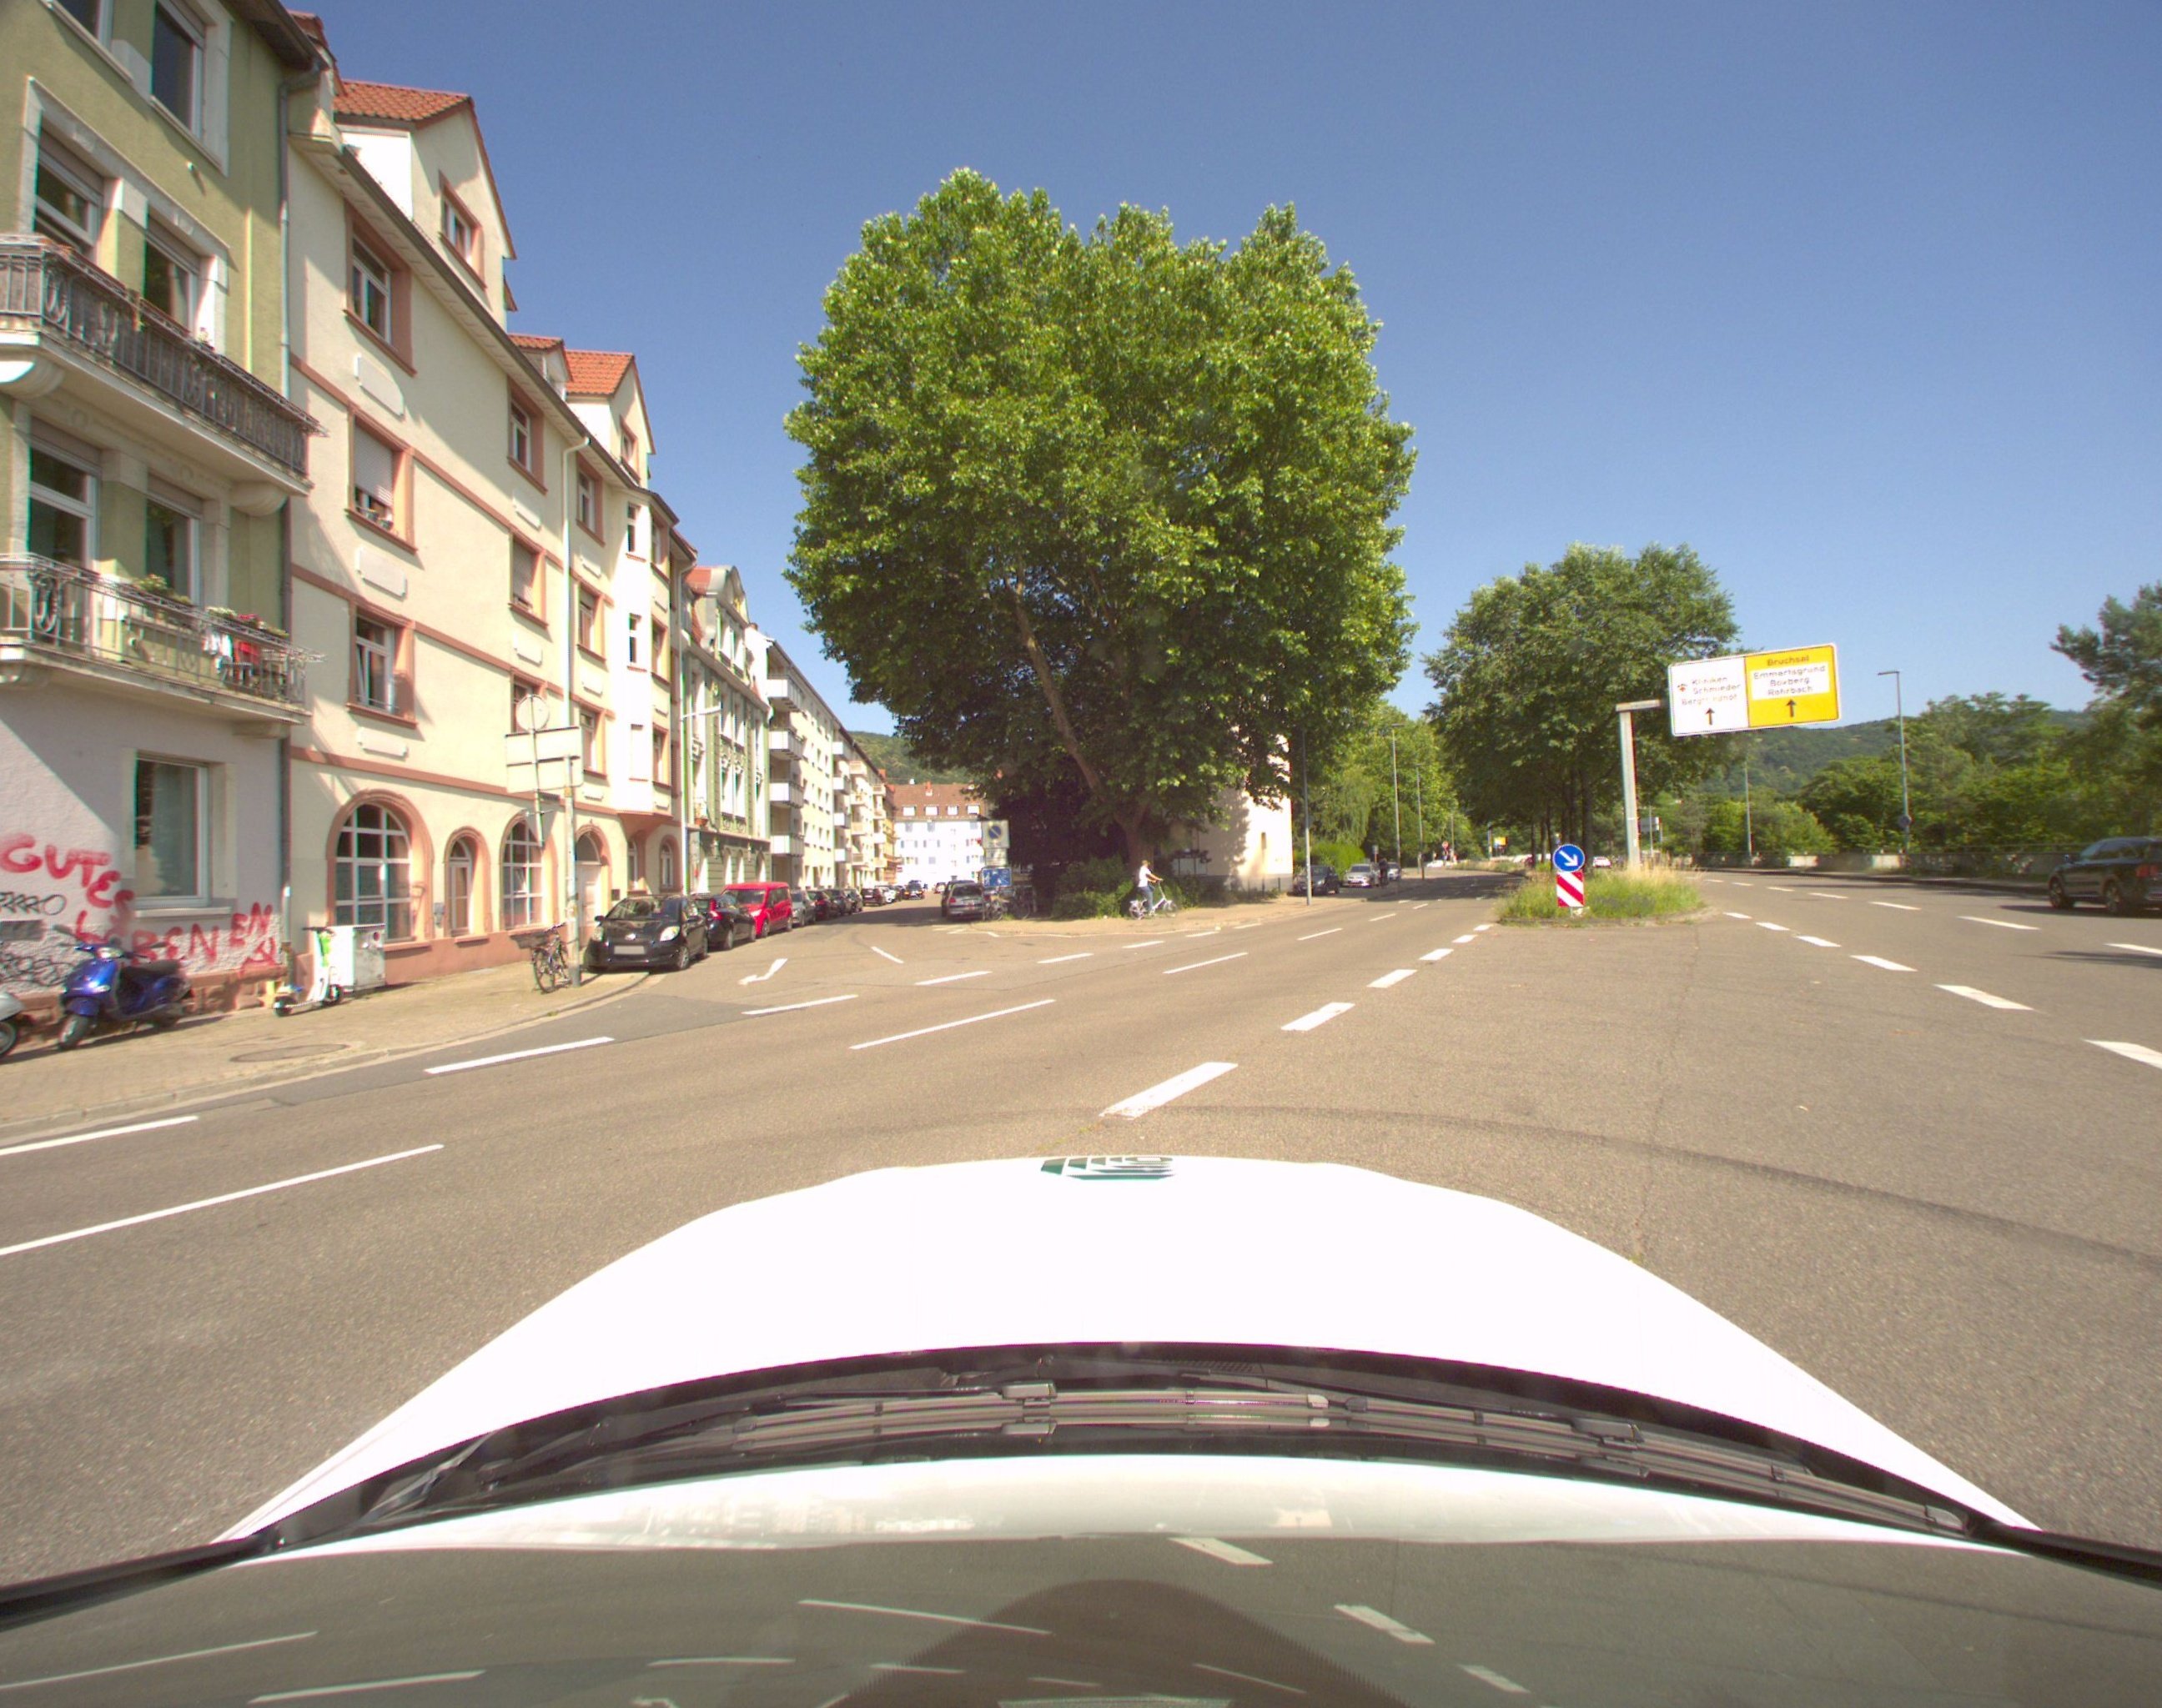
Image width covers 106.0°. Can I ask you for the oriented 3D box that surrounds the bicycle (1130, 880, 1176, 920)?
[{"bbox_3d":[2.256,1.427,25.588,1.284,1.189,0.551,-2,-2,-13],"label":"bicycle"}]

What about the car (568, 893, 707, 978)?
[{"bbox_3d":[-9.143,1.610,17.119,1.825,1.447,3.746,-1,-2,-17],"label":"car"}]

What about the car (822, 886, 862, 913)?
[{"bbox_3d":[-14.370,2.719,49.119,1.863,1.486,3.985,-2,-1,-10],"label":"car"}]

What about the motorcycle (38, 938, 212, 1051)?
[{"bbox_3d":[-11.018,1.582,9.454,0.427,1.094,1.445,0,-2,-8],"label":"motorcycle"}]

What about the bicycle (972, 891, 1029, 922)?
[{"bbox_3d":[-2.885,1.859,28.966,1.894,0.984,0.969,-2,-2,-13],"label":"bicycle"}]

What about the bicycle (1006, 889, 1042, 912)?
[{"bbox_3d":[-2.583,2.081,36.731,1.570,0.993,0.455,0,-1,-10],"label":"bicycle"}]

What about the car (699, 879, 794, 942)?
[{"bbox_3d":[-11.003,1.799,27.091,1.865,1.841,4.214,-2,-1,-8],"label":"car"}]

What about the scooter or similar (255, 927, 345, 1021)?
[{"bbox_3d":[-10.781,1.623,11.284,0.274,1.128,1.439,0,-2,-18],"label":"scooter or similar"}]

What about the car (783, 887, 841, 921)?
[{"bbox_3d":[-12.923,2.379,39.383,1.861,1.486,3.990,-2,-2,-7],"label":"car"}]

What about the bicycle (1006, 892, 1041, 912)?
[{"bbox_3d":[-2.512,2.087,35.751,1.502,0.834,0.382,0,-1,-10],"label":"bicycle"}]

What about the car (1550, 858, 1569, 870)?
[{"bbox_3d":[61.112,1.266,104.091,1.615,1.495,3.700,-3,-2,23],"label":"car"}]

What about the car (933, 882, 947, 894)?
[{"bbox_3d":[-19.860,4.786,114.974,1.747,1.481,3.770,-2,-1,-7],"label":"car"}]

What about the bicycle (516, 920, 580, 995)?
[{"bbox_3d":[-8.717,1.649,13.379,0.627,1.034,1.866,-1,-2,-26],"label":"bicycle"}]

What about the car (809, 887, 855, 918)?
[{"bbox_3d":[-13.499,2.615,44.326,1.863,1.486,3.985,-2,-1,-10],"label":"car"}]

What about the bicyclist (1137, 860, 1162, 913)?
[{"bbox_3d":[2.160,1.024,25.587,0.588,1.633,0.538,-1,-2,-14],"label":"bicyclist"}]

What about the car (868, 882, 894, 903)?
[{"bbox_3d":[-16.980,3.254,69.323,1.863,1.722,3.848,-2,-2,-10],"label":"car"}]

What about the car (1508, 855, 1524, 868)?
[{"bbox_3d":[64.481,1.156,120.763,1.615,1.812,3.611,-2,-2,22],"label":"car"}]

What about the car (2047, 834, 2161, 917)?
[{"bbox_3d":[23.316,0.408,17.734,1.898,1.664,4.339,-3,-2,36],"label":"car"}]

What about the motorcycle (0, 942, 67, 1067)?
[{"bbox_3d":[-10.665,1.476,7.495,0.471,1.150,1.764,0,-1,-1],"label":"motorcycle"}]

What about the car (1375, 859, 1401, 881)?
[{"bbox_3d":[25.621,1.313,67.914,1.754,1.680,4.022,-3,-2,23],"label":"car"}]

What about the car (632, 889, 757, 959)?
[{"bbox_3d":[-10.254,1.785,21.938,1.982,1.543,4.048,-2,-1,-10],"label":"car"}]

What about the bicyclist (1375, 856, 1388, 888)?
[{"bbox_3d":[18.423,1.111,49.901,0.640,1.894,0.843,-3,-2,22],"label":"bicyclist"}]

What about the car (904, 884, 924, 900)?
[{"bbox_3d":[-17.201,3.890,83.930,1.747,1.461,3.770,-2,-2,-7],"label":"car"}]

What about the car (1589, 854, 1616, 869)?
[{"bbox_3d":[61.868,0.846,96.715,1.976,1.677,4.022,-3,-2,23],"label":"car"}]

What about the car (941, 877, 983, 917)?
[{"bbox_3d":[-5.341,1.911,36.935,1.747,1.657,3.770,-2,-1,-7],"label":"car"}]

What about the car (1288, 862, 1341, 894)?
[{"bbox_3d":[11.838,1.188,41.149,1.771,1.512,3.916,-3,-2,27],"label":"car"}]

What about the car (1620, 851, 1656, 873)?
[{"bbox_3d":[49.409,0.704,72.305,1.975,1.891,4.023,-3,-2,26],"label":"car"}]

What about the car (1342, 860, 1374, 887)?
[{"bbox_3d":[17.537,1.232,51.453,1.627,1.574,4.021,-3,-2,22],"label":"car"}]

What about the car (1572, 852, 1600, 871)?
[{"bbox_3d":[55.099,0.824,88.921,1.976,1.891,4.022,-3,-2,23],"label":"car"}]

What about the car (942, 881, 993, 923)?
[{"bbox_3d":[-4.386,1.804,31.638,1.803,1.451,3.784,-2,-1,-7],"label":"car"}]

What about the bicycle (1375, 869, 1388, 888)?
[{"bbox_3d":[18.367,1.490,49.742,0.654,1.122,1.812,-3,-2,21],"label":"bicycle"}]

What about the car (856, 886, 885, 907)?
[{"bbox_3d":[-16.090,3.243,62.440,1.863,1.486,3.848,-2,-2,-10],"label":"car"}]

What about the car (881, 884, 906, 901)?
[{"bbox_3d":[-18.238,3.762,79.475,1.992,1.478,3.988,-2,-1,-8],"label":"car"}]

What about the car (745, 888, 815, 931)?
[{"bbox_3d":[-11.932,2.177,32.496,1.863,1.486,3.986,-2,-1,-10],"label":"car"}]

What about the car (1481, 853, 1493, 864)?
[{"bbox_3d":[73.609,0.814,147.622,1.615,1.812,3.611,-3,-2,22],"label":"car"}]
